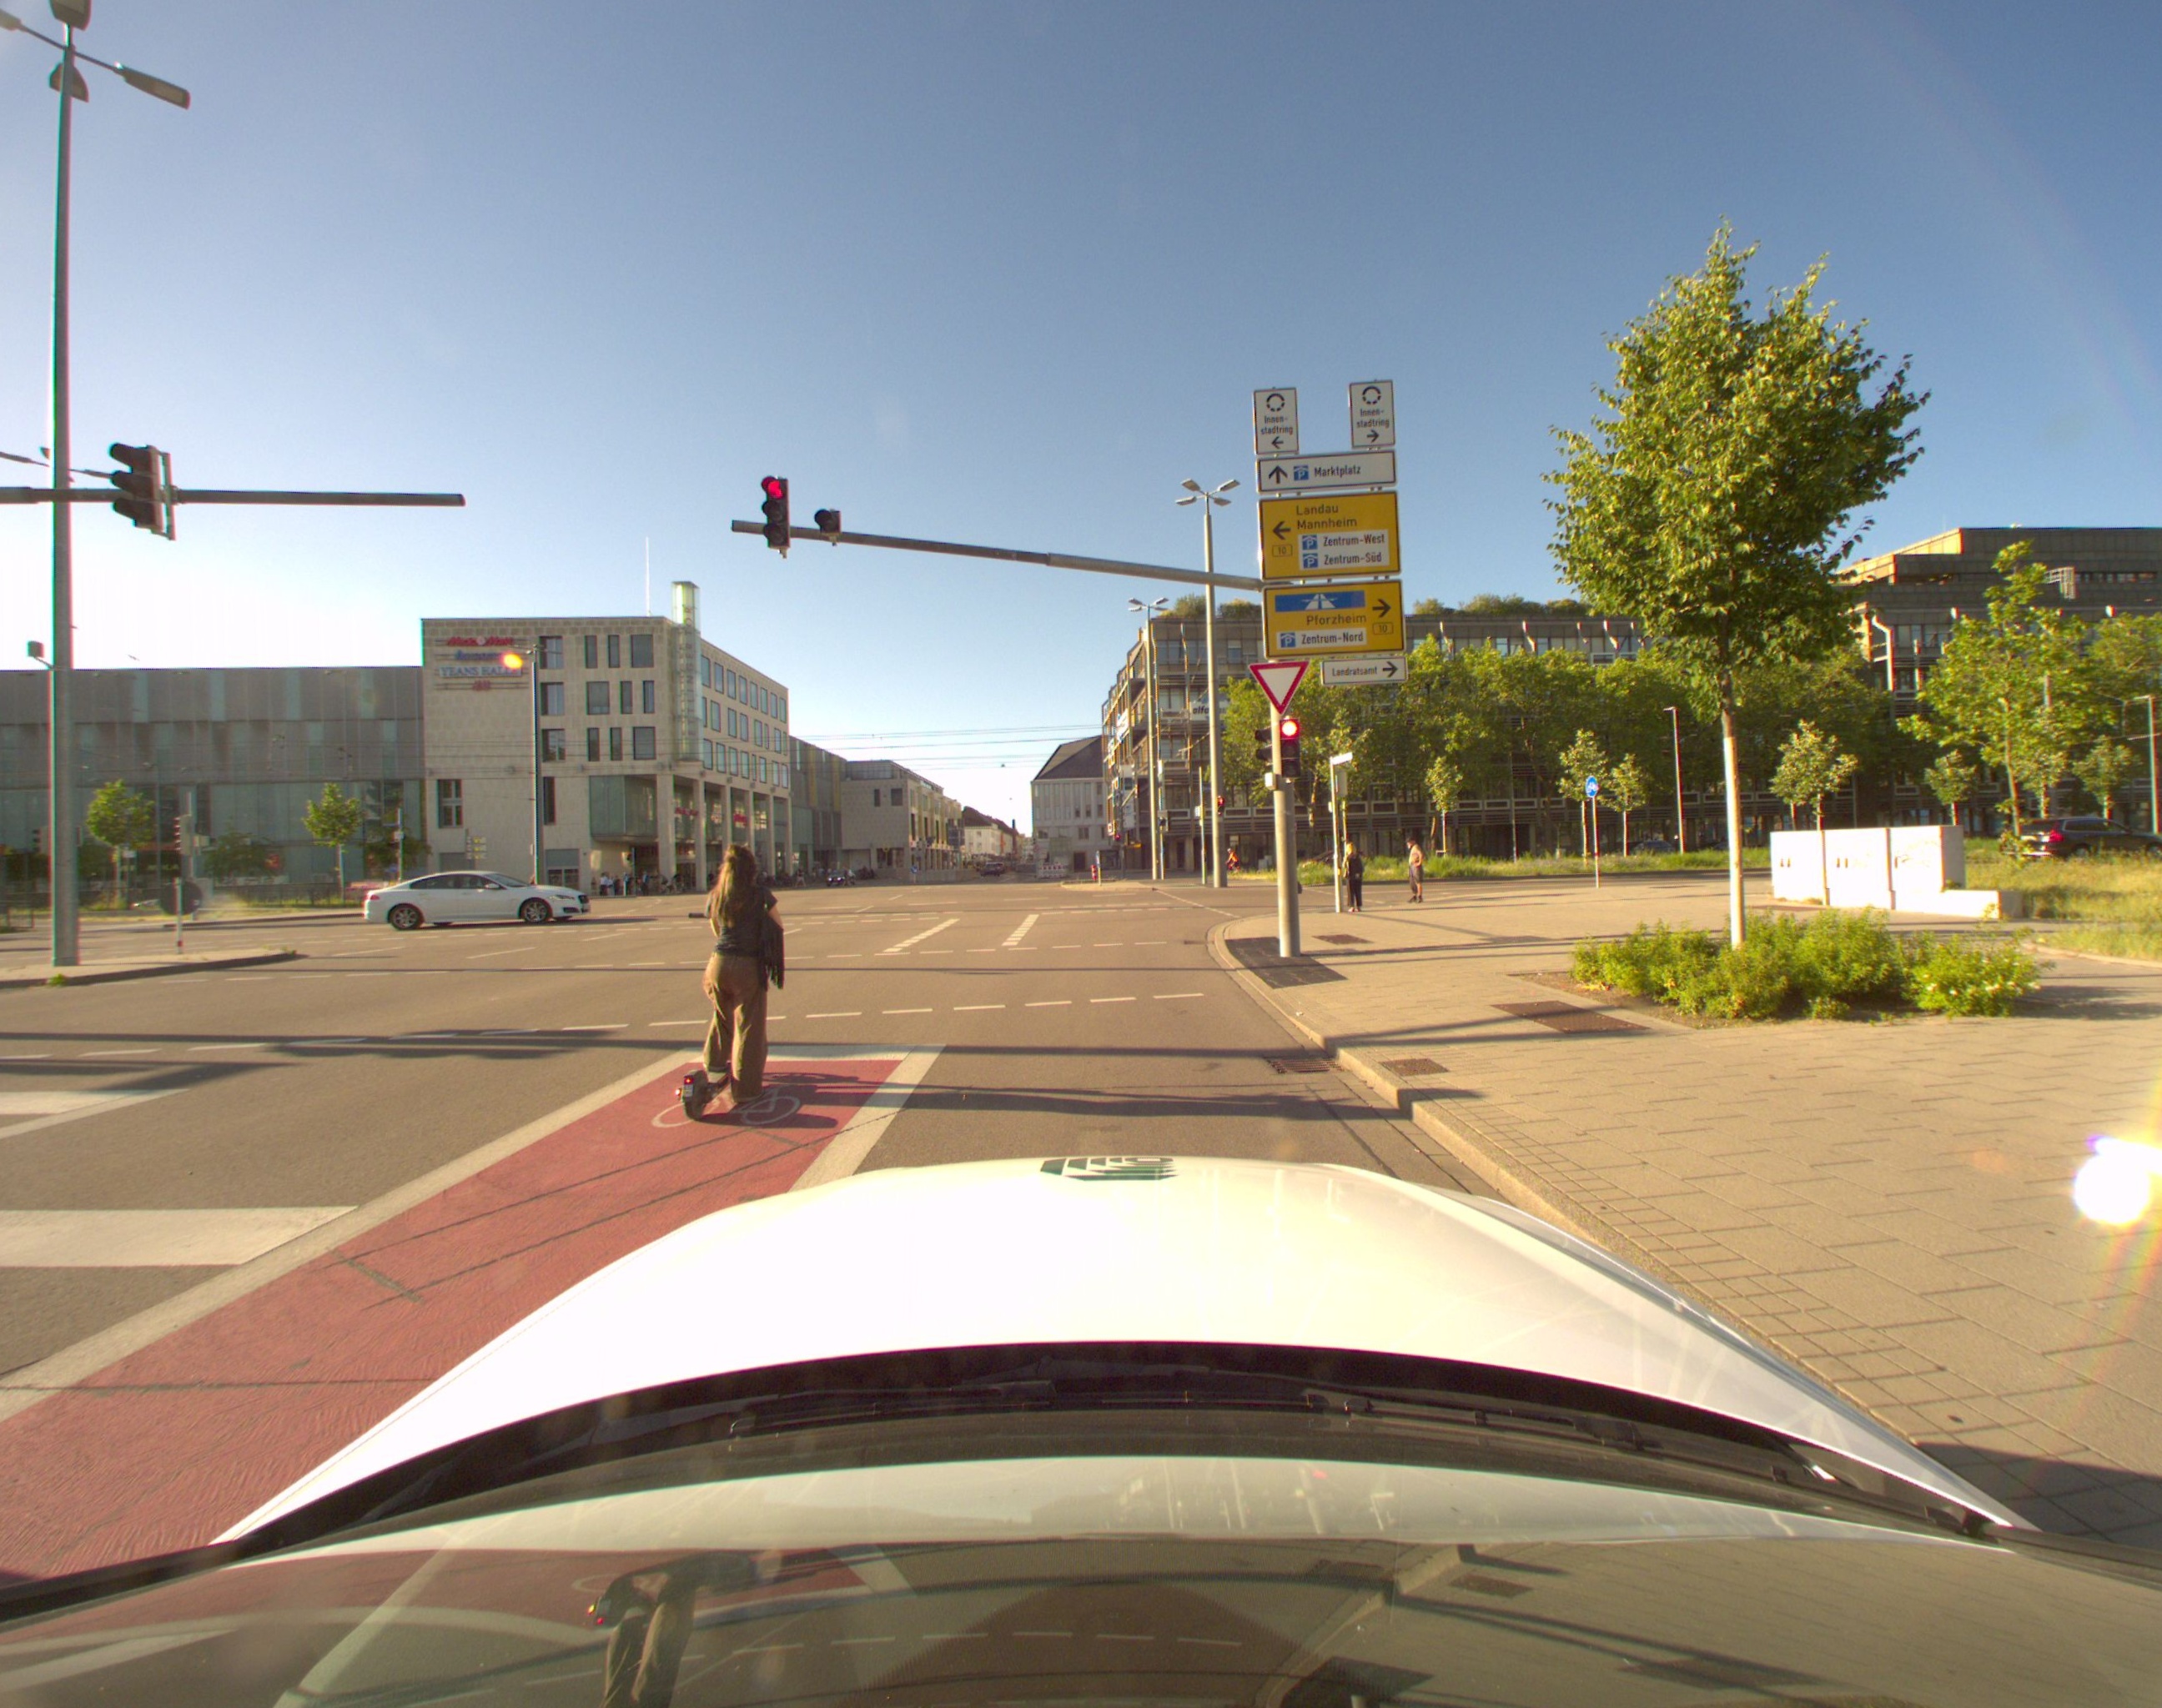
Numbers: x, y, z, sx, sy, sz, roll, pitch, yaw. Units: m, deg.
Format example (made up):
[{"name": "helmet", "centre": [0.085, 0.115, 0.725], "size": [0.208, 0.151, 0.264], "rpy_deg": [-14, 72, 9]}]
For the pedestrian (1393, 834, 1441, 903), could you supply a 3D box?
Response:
[{"name": "pedestrian", "centre": [8.659, 0.370, 21.015], "size": [0.869, 1.706, 0.768], "rpy_deg": [-2, 0, 0]}]

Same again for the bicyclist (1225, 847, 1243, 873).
[{"name": "bicyclist", "centre": [8.834, 0.326, 47.074], "size": [0.820, 1.474, 0.652], "rpy_deg": [-2, 0, -2]}]

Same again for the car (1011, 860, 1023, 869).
[{"name": "car", "centre": [-11.443, 1.855, 146.296], "size": [1.652, 1.458, 3.543], "rpy_deg": [-2, 0, 2]}]

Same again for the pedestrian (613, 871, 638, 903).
[{"name": "pedestrian", "centre": [-25.114, 1.800, 44.916], "size": [0.821, 1.675, 1.004], "rpy_deg": [-2, 0, -2]}]

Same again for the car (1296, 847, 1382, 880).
[{"name": "car", "centre": [14.608, 0.543, 46.226], "size": [4.287, 1.684, 1.820], "rpy_deg": [-2, 0, -9]}]

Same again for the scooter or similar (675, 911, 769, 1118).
[{"name": "scooter or similar", "centre": [-2.210, 0.944, 5.069], "size": [0.306, 1.107, 0.835], "rpy_deg": [-2, 0, -9]}]

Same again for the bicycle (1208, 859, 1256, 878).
[{"name": "bicycle", "centre": [8.730, 0.838, 47.058], "size": [2.561, 0.975, 1.047], "rpy_deg": [-2, 0, -1]}]

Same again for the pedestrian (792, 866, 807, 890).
[{"name": "pedestrian", "centre": [-22.600, 1.940, 65.342], "size": [0.935, 1.864, 0.541], "rpy_deg": [-2, 0, 18]}]

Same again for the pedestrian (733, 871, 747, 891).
[{"name": "pedestrian", "centre": [-28.394, 2.226, 67.811], "size": [0.770, 1.638, 0.629], "rpy_deg": [-2, 0, 19]}]

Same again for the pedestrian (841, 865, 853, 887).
[{"name": "pedestrian", "centre": [-18.350, 1.692, 63.765], "size": [0.697, 1.688, 0.620], "rpy_deg": [-2, 0, 2]}]

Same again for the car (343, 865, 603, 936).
[{"name": "car", "centre": [-15.872, 1.162, 21.591], "size": [5.088, 1.564, 1.991], "rpy_deg": [-2, 0, -13]}]

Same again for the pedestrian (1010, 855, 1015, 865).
[{"name": "pedestrian", "centre": [-13.879, 1.245, 165.267], "size": [0.907, 1.965, 0.823], "rpy_deg": [0, -1, 1]}]

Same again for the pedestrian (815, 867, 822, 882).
[{"name": "pedestrian", "centre": [-30.928, 2.404, 95.943], "size": [0.465, 1.729, 0.632], "rpy_deg": [-1, -1, 35]}]

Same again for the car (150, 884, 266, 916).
[{"name": "car", "centre": [-52.599, 2.747, 49.127], "size": [4.831, 1.684, 1.824], "rpy_deg": [-2, 0, -2]}]

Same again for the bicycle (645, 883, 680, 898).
[{"name": "bicycle", "centre": [-29.374, 2.570, 57.162], "size": [0.629, 0.903, 2.231], "rpy_deg": [-2, 0, 25]}]

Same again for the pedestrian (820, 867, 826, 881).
[{"name": "pedestrian", "centre": [-31.259, 2.429, 98.688], "size": [0.465, 1.729, 0.632], "rpy_deg": [-1, -1, 30]}]

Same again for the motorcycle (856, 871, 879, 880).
[{"name": "motorcycle", "centre": [-25.975, 2.642, 98.979], "size": [2.600, 0.993, 1.113], "rpy_deg": [0, -1, -8]}]

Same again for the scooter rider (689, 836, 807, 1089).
[{"name": "scooter rider", "centre": [-2.117, 0.661, 5.221], "size": [0.552, 1.530, 0.448], "rpy_deg": [-2, 0, -7]}]

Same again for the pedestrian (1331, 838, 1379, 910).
[{"name": "pedestrian", "centre": [6.319, 0.453, 18.810], "size": [0.763, 1.614, 0.874], "rpy_deg": [-2, 0, 0]}]

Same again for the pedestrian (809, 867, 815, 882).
[{"name": "pedestrian", "centre": [-32.085, 2.424, 97.285], "size": [0.465, 1.729, 0.524], "rpy_deg": [-1, -1, 40]}]

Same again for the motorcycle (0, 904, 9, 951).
[{"name": "motorcycle", "centre": [-26.564, 1.770, 19.016], "size": [1.952, 1.100, 0.648], "rpy_deg": [-2, 0, -6]}]

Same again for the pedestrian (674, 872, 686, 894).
[{"name": "pedestrian", "centre": [-30.450, 2.195, 61.839], "size": [0.590, 1.646, 0.629], "rpy_deg": [-2, 0, 1]}]

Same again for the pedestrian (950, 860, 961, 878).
[{"name": "pedestrian", "centre": [-12.800, 1.511, 82.815], "size": [0.896, 1.782, 0.809], "rpy_deg": [-2, 0, 1]}]

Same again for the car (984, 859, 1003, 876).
[{"name": "car", "centre": [-9.268, 1.429, 86.702], "size": [1.816, 1.684, 3.995], "rpy_deg": [-2, 0, -4]}]

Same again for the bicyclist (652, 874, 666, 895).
[{"name": "bicyclist", "centre": [-29.505, 2.143, 56.969], "size": [0.620, 1.448, 0.592], "rpy_deg": [-2, 0, 25]}]

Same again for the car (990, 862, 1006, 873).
[{"name": "car", "centre": [-10.999, 1.792, 108.532], "size": [1.652, 1.458, 3.543], "rpy_deg": [-2, 0, 2]}]

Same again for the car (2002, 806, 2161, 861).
[{"name": "car", "centre": [36.940, -0.748, 29.987], "size": [4.820, 1.864, 1.878], "rpy_deg": [-2, 0, -12]}]

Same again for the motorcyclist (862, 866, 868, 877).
[{"name": "motorcyclist", "centre": [-26.262, 2.143, 99.109], "size": [0.627, 1.406, 0.661], "rpy_deg": [0, -1, -7]}]

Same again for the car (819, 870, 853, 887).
[{"name": "car", "centre": [-21.146, 2.107, 70.434], "size": [1.670, 1.357, 4.021], "rpy_deg": [-2, 0, 1]}]

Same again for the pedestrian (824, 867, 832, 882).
[{"name": "pedestrian", "centre": [-30.027, 2.403, 96.698], "size": [0.465, 1.729, 0.699], "rpy_deg": [-1, -1, 40]}]
